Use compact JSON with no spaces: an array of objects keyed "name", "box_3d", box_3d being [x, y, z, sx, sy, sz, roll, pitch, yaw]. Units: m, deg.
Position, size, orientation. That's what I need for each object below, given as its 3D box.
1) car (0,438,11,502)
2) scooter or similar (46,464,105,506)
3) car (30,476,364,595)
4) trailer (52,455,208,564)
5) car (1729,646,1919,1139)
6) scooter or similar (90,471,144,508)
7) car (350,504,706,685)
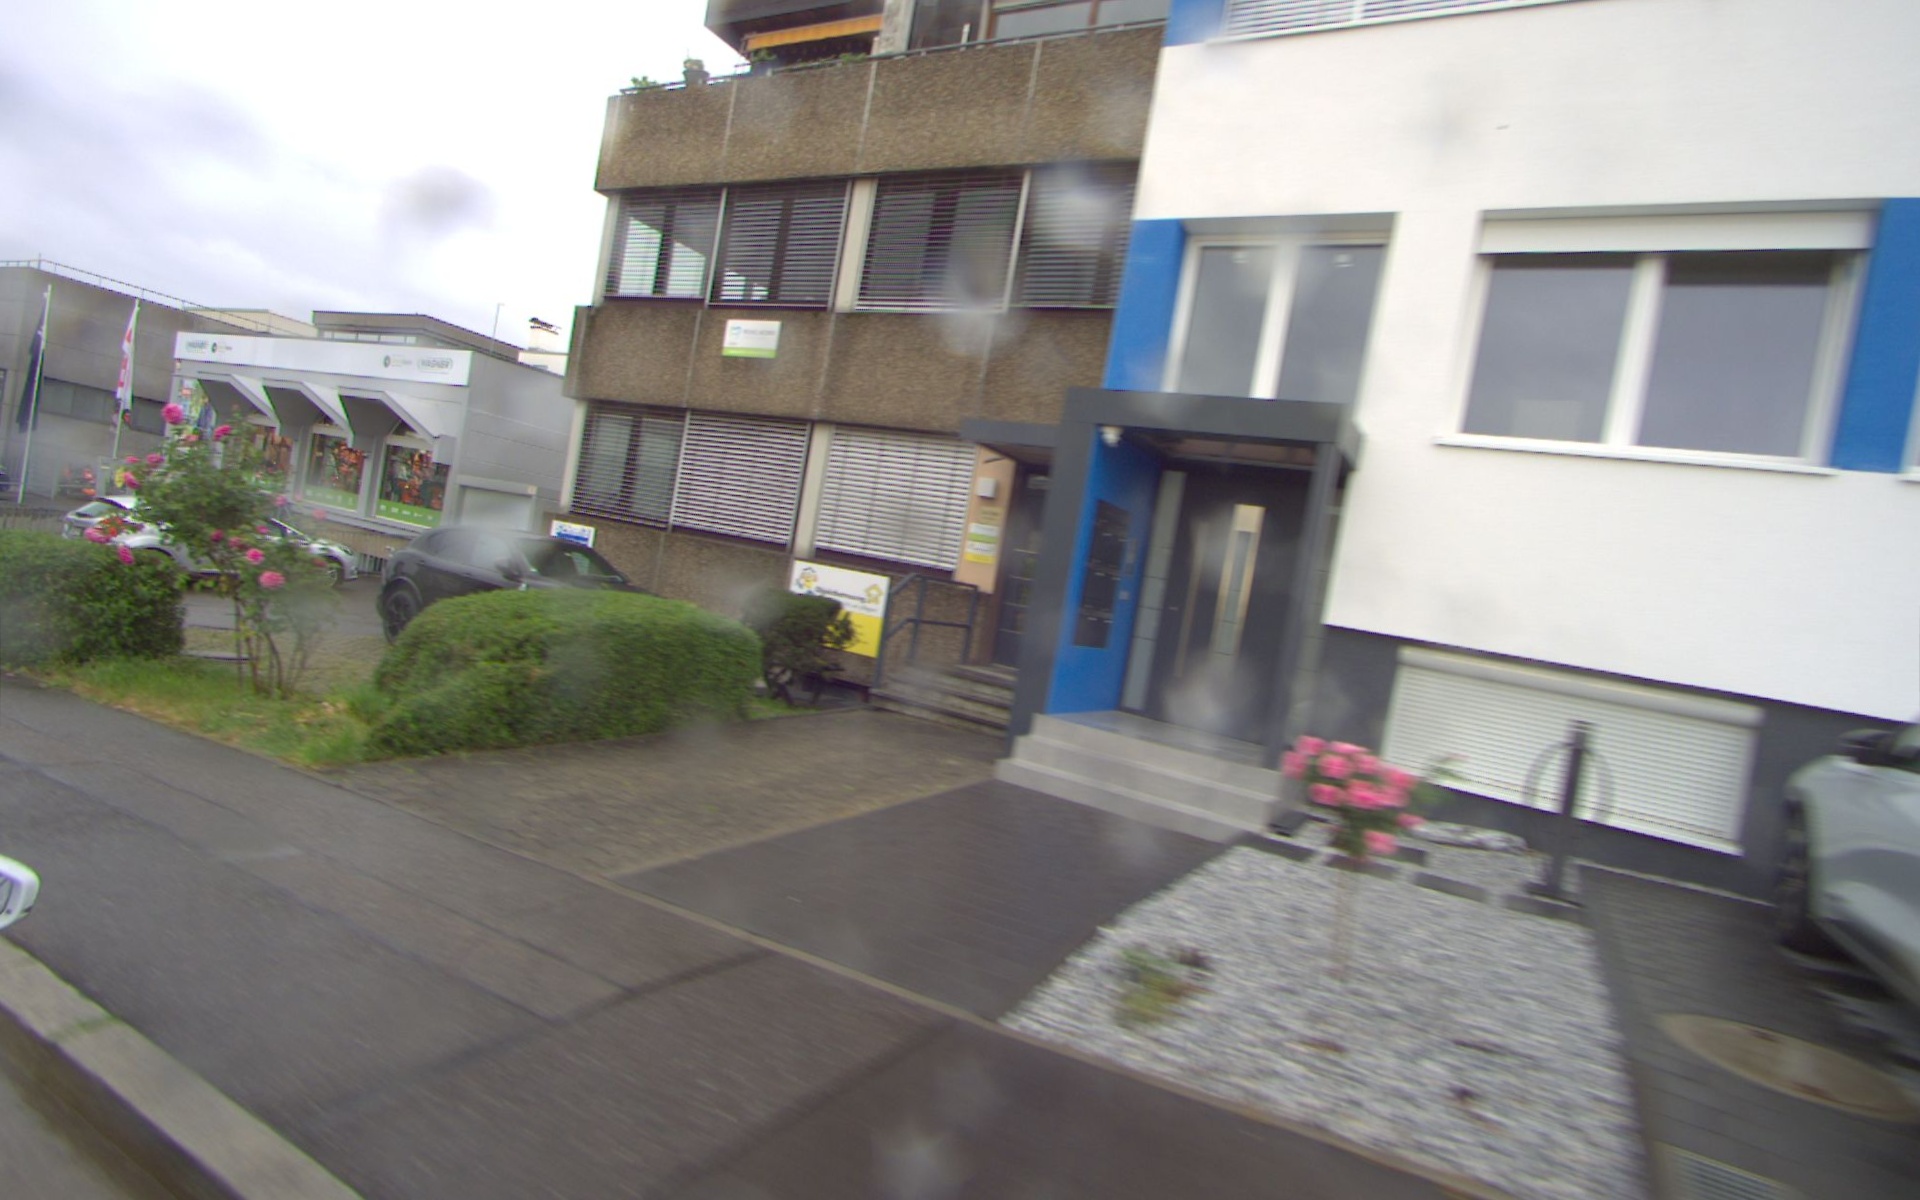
[{"name":"car","box_3d":[-32.847,-4.091,30.600,2.184,2.044,5.290,6,7,30]},{"name":"scooter or similar","box_3d":[-31.321,-4.075,35.612,2.030,1.242,1.063,9,5,33]},{"name":"car","box_3d":[-13.004,-1.032,17.428,1.969,1.595,4.123,6,2,29]},{"name":"trailer","box_3d":[-22.885,-2.506,27.701,4.236,2.447,1.889,8,1,31]},{"name":"car","box_3d":[4.478,1.066,3.522,2.044,1.558,4.601,7,1,29]},{"name":"scooter or similar","box_3d":[-30.760,-4.020,36.701,1.815,1.171,1.003,7,4,33]},{"name":"car","box_3d":[-5.538,-0.106,12.754,4.398,1.771,1.751,6,0,30]}]
